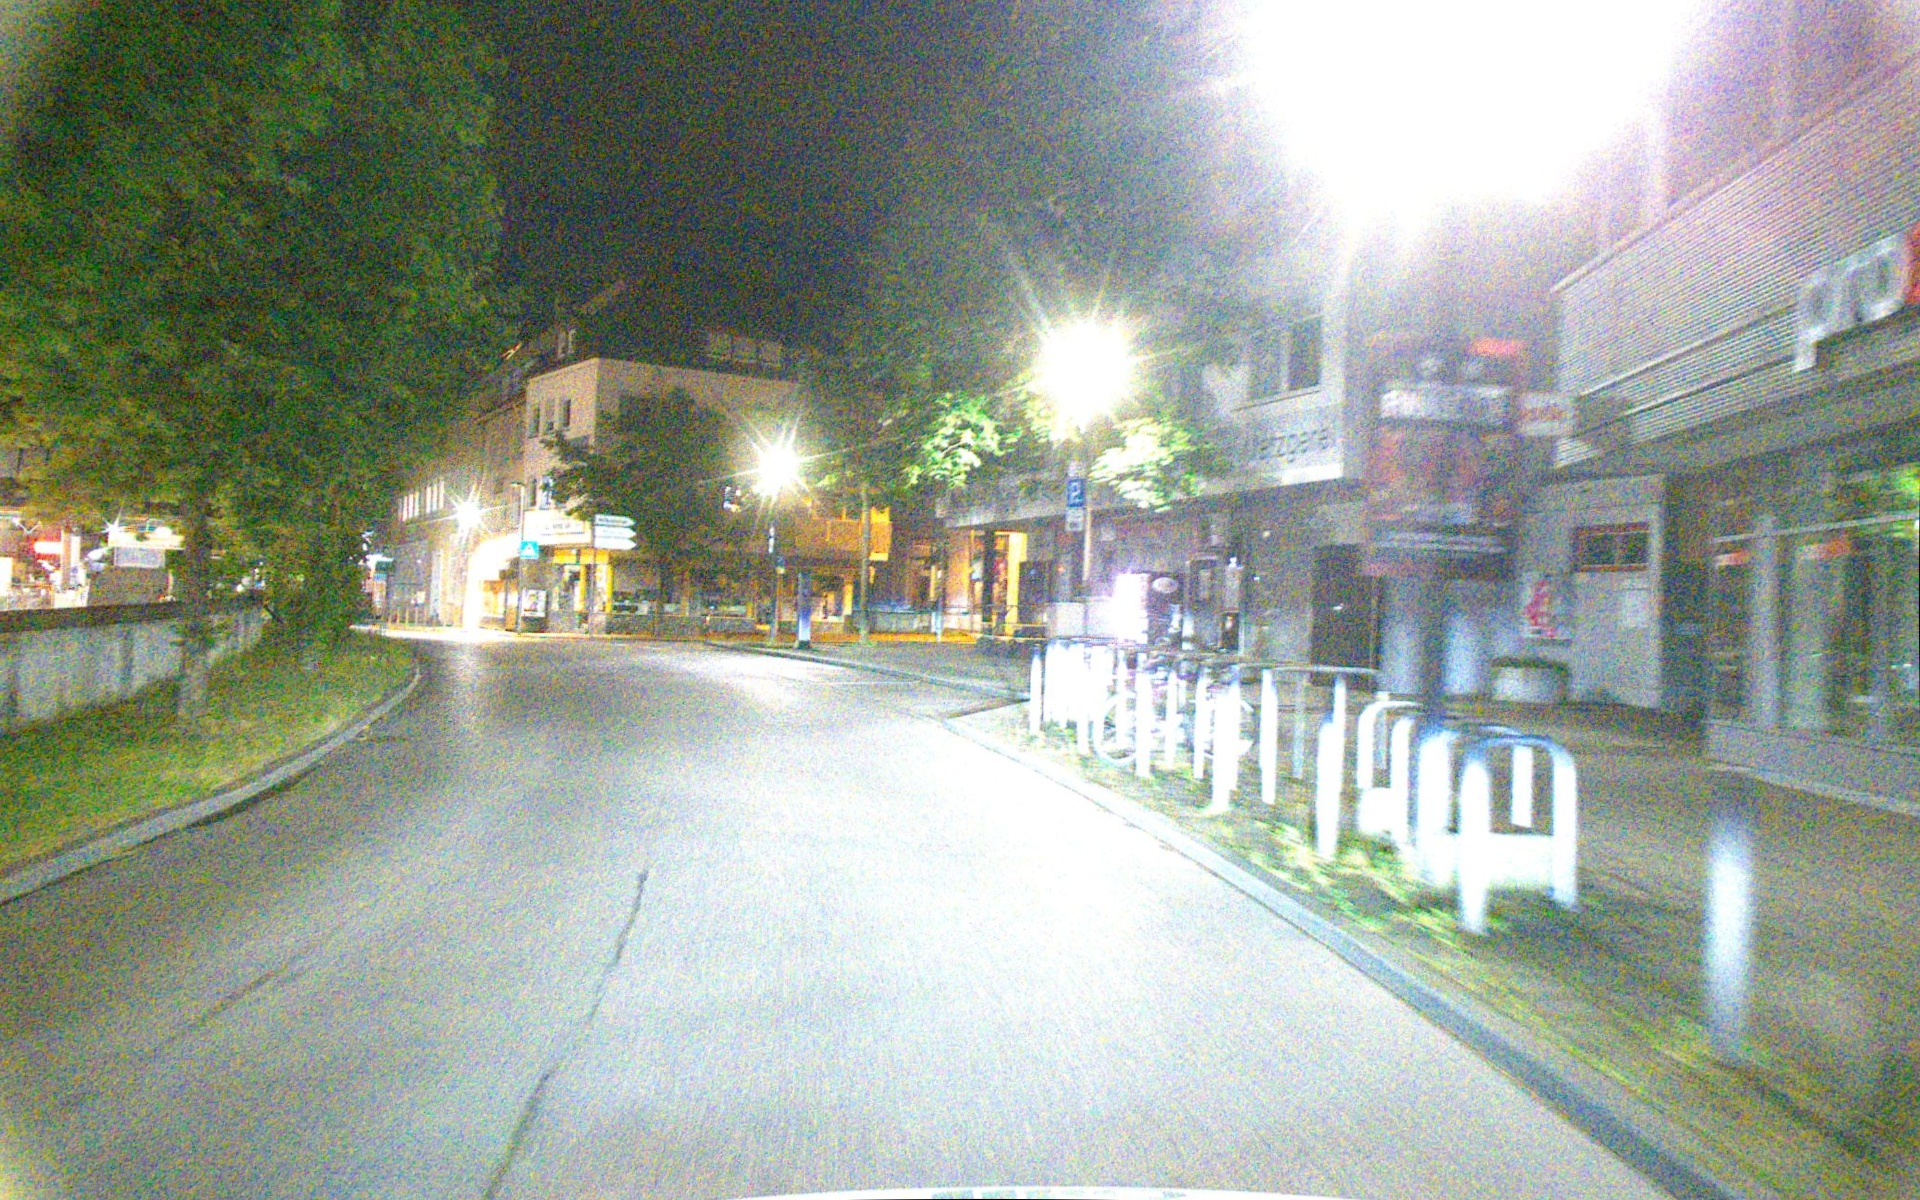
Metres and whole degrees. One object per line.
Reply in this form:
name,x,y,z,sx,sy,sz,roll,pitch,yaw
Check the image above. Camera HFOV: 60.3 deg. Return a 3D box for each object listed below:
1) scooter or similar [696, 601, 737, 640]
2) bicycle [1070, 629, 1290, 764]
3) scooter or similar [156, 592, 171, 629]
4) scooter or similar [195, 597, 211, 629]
scooter or similar,-8.468,0.708,57.471,1.229,1.248,0.594,3,0,-23
bicycle,1.869,0.818,14.056,1.724,1.081,0.652,2,0,-21
scooter or similar,-28.676,0.372,59.552,0.425,1.307,1.135,1,1,-30
scooter or similar,-27.566,0.465,60.226,0.425,1.154,0.994,1,1,-30
